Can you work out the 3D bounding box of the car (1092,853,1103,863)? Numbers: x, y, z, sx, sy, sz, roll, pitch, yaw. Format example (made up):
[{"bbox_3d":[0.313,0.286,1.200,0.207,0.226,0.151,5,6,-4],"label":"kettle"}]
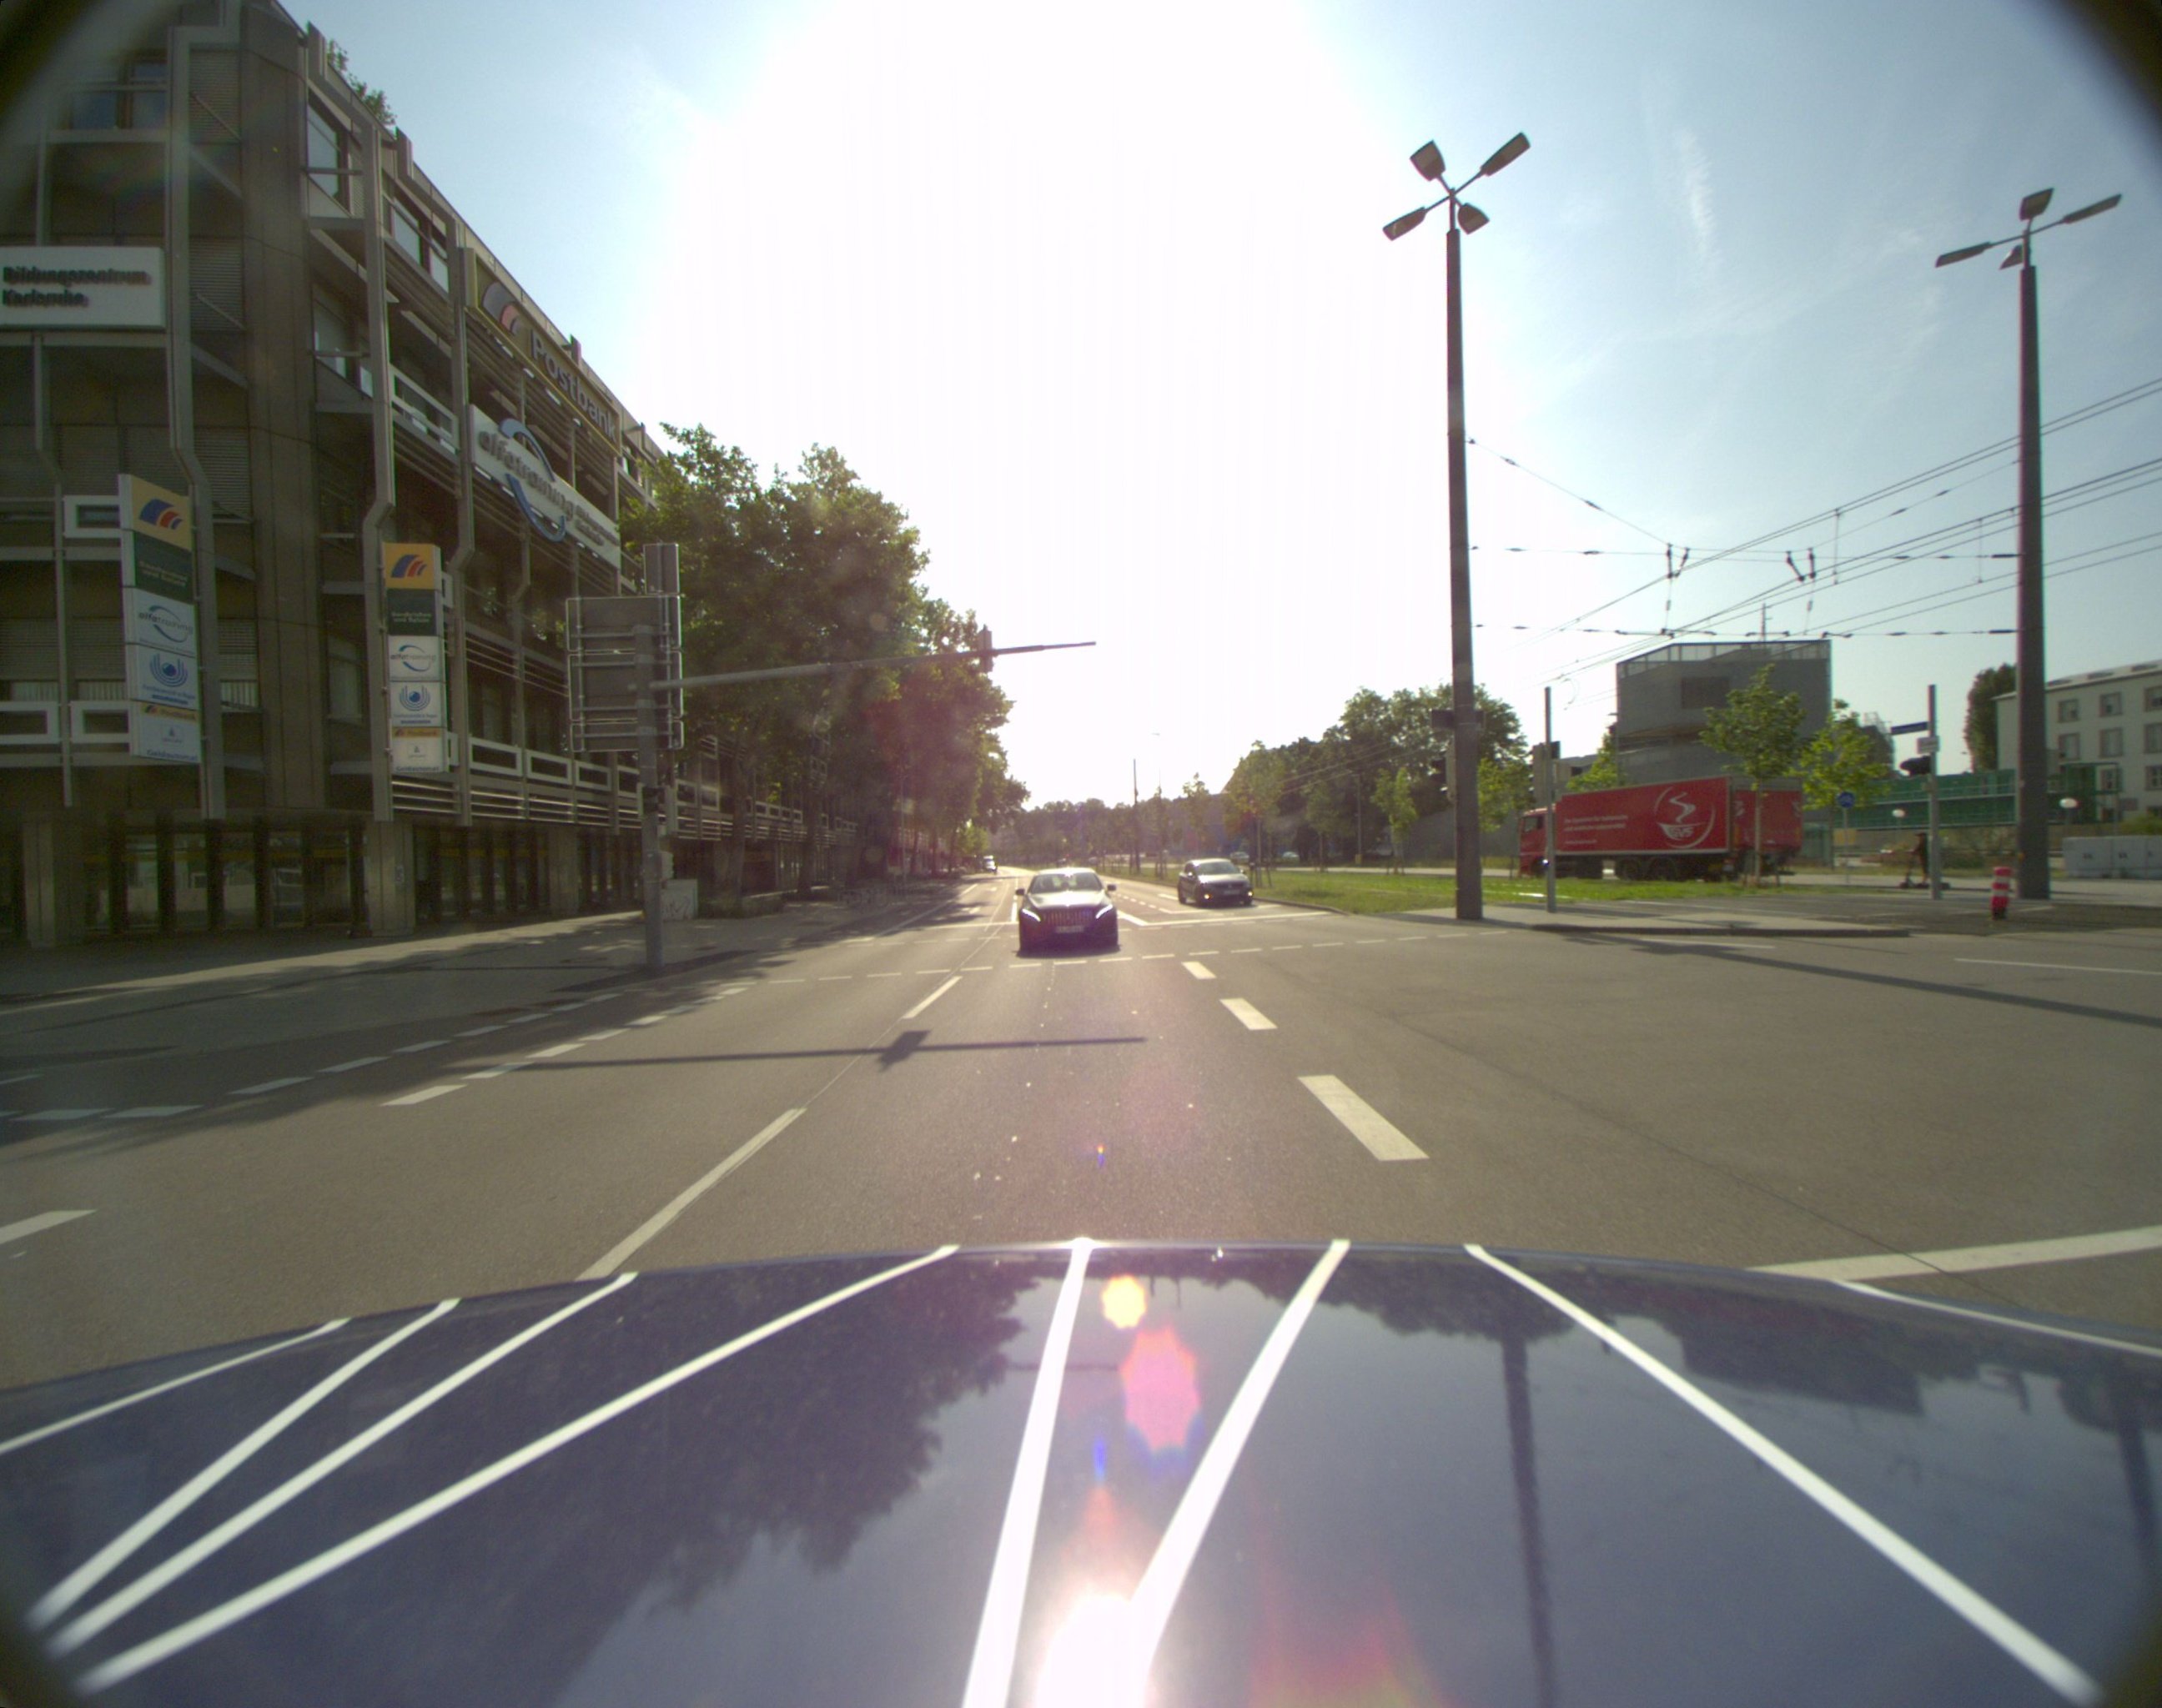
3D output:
[{"bbox_3d":[3.573,0.882,167.664,1.999,2.002,3.998,-3,1,-5],"label":"car"}]

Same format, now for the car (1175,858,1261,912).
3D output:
[{"bbox_3d":[4.220,0.912,24.064,1.709,1.424,3.868,-4,0,-4],"label":"car"}]

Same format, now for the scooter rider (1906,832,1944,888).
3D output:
[{"bbox_3d":[25.781,0.173,23.214,0.539,1.688,0.549,-2,1,-10],"label":"scooter rider"}]

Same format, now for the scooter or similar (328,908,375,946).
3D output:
[{"bbox_3d":[-18.039,1.786,18.809,0.279,0.838,0.959,-2,0,-5],"label":"scooter or similar"}]

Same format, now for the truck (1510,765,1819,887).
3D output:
[{"bbox_3d":[21.396,-0.896,29.190,2.981,3.787,10.416,-2,0,-6],"label":"truck"}]

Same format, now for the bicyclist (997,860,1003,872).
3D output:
[{"bbox_3d":[-10.518,1.566,98.310,0.612,1.505,0.813,-2,1,-15],"label":"bicyclist"}]

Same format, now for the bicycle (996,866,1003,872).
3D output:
[{"bbox_3d":[-10.512,1.969,98.312,0.630,0.702,1.807,-2,0,-14],"label":"bicycle"}]

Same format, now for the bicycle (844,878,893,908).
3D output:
[{"bbox_3d":[-8.709,1.585,31.198,1.832,1.181,0.537,-1,1,0],"label":"bicycle"}]

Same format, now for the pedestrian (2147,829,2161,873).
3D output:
[{"bbox_3d":[41.487,-0.131,29.075,0.607,1.687,0.538,-2,1,0],"label":"pedestrian"}]

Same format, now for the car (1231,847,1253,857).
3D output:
[{"bbox_3d":[29.920,-0.312,141.226,2.020,1.758,4.818,-2,0,-13],"label":"car"}]

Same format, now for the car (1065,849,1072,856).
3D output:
[{"bbox_3d":[-3.882,-0.521,229.610,1.757,1.968,3.770,-2,0,-4],"label":"car"}]

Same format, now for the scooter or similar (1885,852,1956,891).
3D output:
[{"bbox_3d":[25.760,0.521,23.334,0.541,1.140,1.382,-2,0,-10],"label":"scooter or similar"}]

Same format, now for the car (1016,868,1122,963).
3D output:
[{"bbox_3d":[-0.304,1.084,15.349,1.717,1.429,5.055,-2,0,-2],"label":"car"}]
